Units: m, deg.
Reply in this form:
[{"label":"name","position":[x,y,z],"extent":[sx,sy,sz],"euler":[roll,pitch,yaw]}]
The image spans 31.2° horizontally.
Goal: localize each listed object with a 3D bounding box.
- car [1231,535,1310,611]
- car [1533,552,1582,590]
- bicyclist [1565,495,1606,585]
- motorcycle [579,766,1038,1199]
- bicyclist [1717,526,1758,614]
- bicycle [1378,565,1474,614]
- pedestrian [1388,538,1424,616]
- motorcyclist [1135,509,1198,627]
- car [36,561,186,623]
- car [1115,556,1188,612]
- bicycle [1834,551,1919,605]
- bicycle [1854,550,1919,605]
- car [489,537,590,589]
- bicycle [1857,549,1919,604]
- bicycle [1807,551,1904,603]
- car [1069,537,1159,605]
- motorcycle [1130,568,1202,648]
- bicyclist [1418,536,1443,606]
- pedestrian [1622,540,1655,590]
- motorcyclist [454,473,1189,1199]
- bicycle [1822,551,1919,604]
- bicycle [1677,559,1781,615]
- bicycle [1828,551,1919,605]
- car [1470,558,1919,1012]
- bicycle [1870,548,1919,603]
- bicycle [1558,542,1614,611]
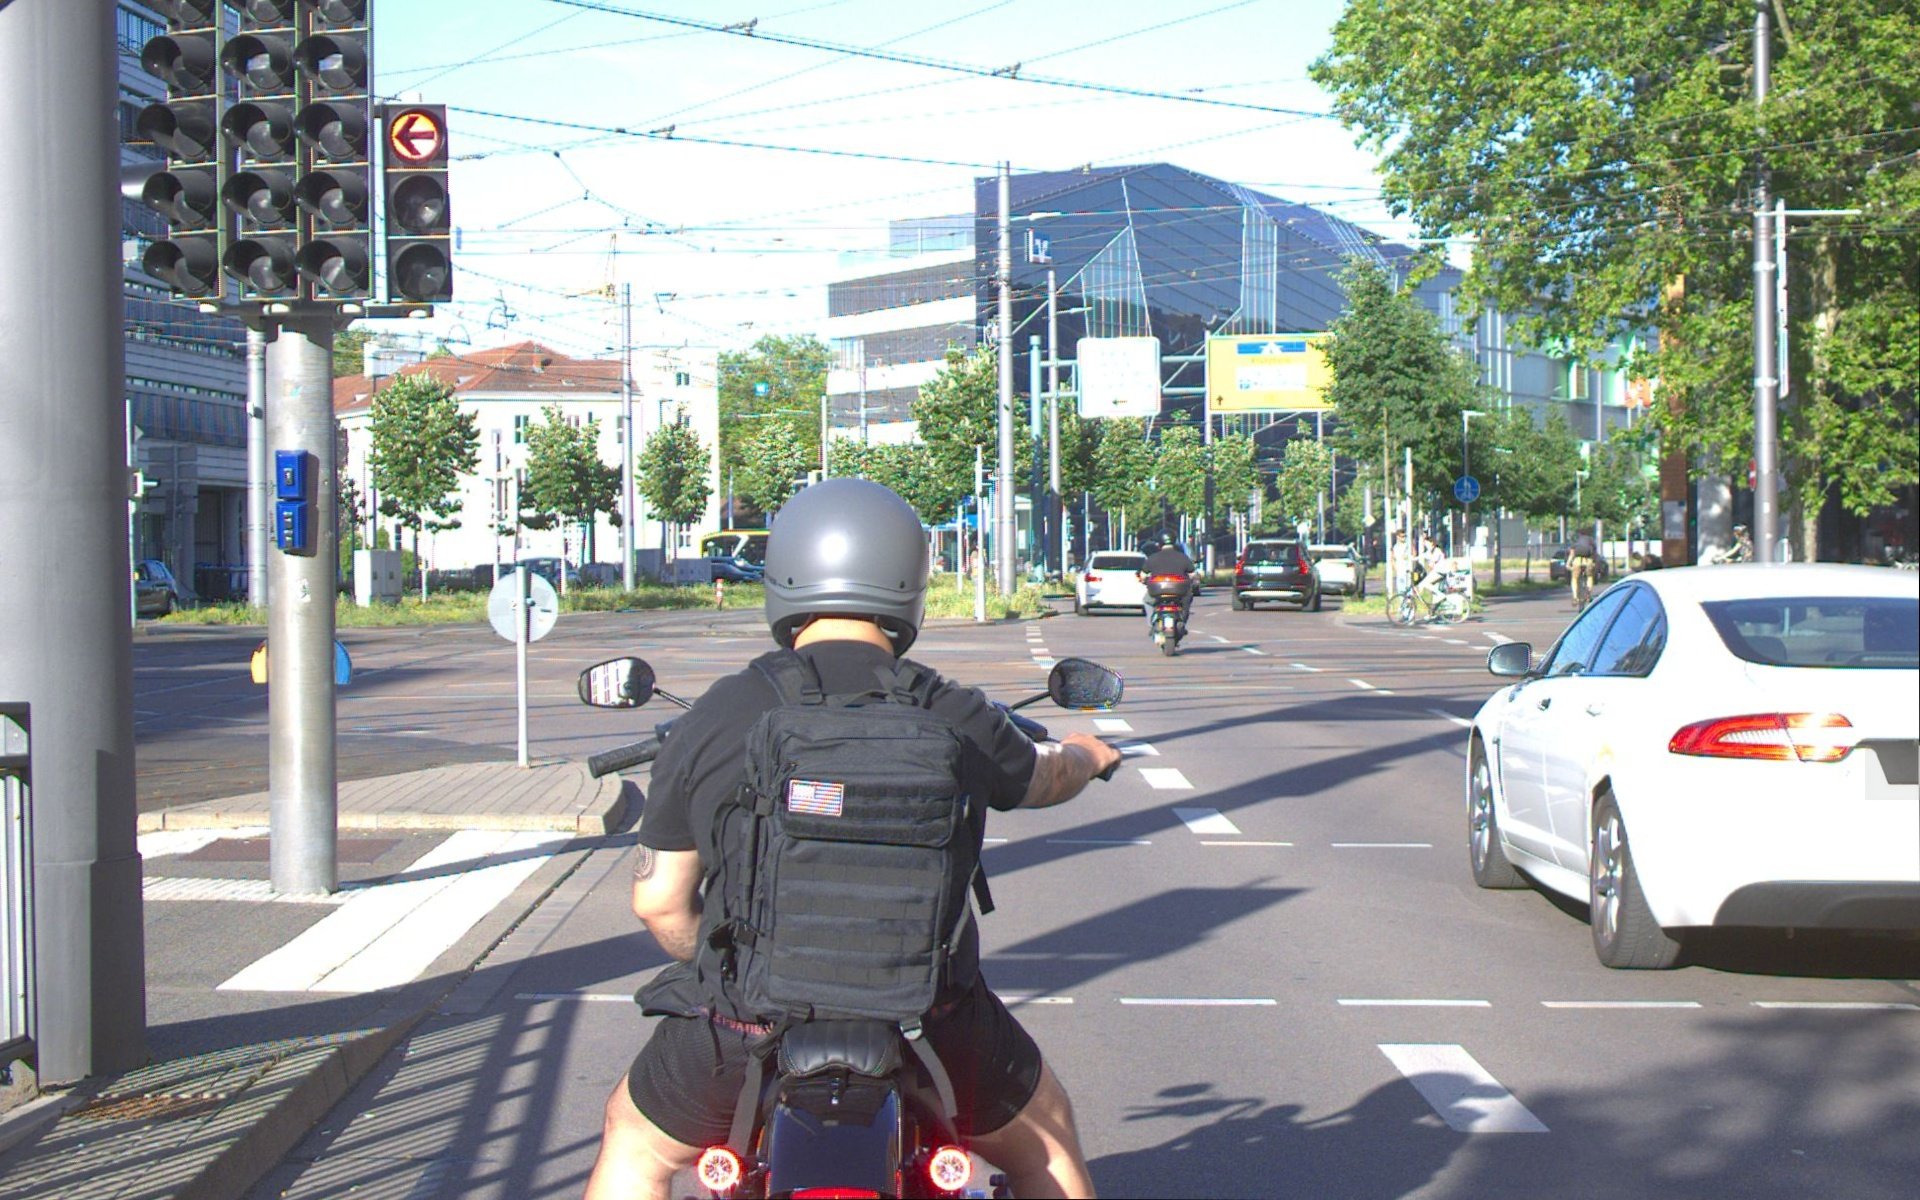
[{"label":"car","position":[7.516,-0.673,83.496],"extent":[1.732,1.726,4.611],"euler":[1,2,4]},{"label":"car","position":[27.474,-1.328,158.023],"extent":[1.805,1.672,4.038],"euler":[1,0,16]},{"label":"bicyclist","position":[12.580,-1.205,69.140],"extent":[0.697,1.802,0.728],"euler":[1,0,4]},{"label":"motorcycle","position":[-0.218,0.870,5.660],"extent":[0.600,1.032,2.234],"euler":[1,1,-1]},{"label":"bicyclist","position":[14.740,-0.565,65.172],"extent":[0.688,1.667,0.540],"euler":[0,0,19]},{"label":"bicycle","position":[9.094,-0.211,67.066],"extent":[1.825,0.922,0.358],"euler":[1,0,-8]},{"label":"pedestrian","position":[8.897,-0.459,68.618],"extent":[0.587,1.551,0.489],"euler":[1,0,-8]},{"label":"motorcyclist","position":[2.789,-0.435,46.448],"extent":[0.796,1.574,0.529],"euler":[1,0,-1]},{"label":"car","position":[-20.101,-0.189,81.597],"extent":[1.826,1.426,4.239],"euler":[1,0,11]},{"label":"car","position":[5.985,-0.485,107.133],"extent":[1.804,1.672,4.039],"euler":[1,0,9]},{"label":"bicycle","position":[18.404,-0.433,68.506],"extent":[1.880,1.043,0.360],"euler":[1,0,-1]},{"label":"bicycle","position":[18.504,-0.437,67.318],"extent":[1.880,1.043,0.360],"euler":[1,0,-1]},{"label":"car","position":[-12.806,-1.114,104.927],"extent":[1.750,1.519,3.997],"euler":[1,0,13]},{"label":"bicycle","position":[18.337,-0.448,66.501],"extent":[1.880,1.043,0.360],"euler":[1,0,-1]},{"label":"bicycle","position":[18.396,-0.472,70.643],"extent":[1.880,1.043,0.360],"euler":[1,1,-1]},{"label":"car","position":[3.398,-0.633,76.558],"extent":[1.731,1.452,4.418],"euler":[1,0,-1]},{"label":"motorcycle","position":[2.780,0.099,46.626],"extent":[0.804,1.047,2.376],"euler":[1,0,0]},{"label":"bicyclist","position":[9.185,-0.568,67.080],"extent":[0.380,1.368,0.345],"euler":[1,0,-9]},{"label":"pedestrian","position":[17.906,-0.912,90.708],"extent":[0.819,1.309,0.637],"euler":[1,0,9]},{"label":"motorcyclist","position":[-0.198,0.610,5.293],"extent":[1.030,1.588,0.873],"euler":[0,1,-1]},{"label":"bicycle","position":[18.418,-0.456,69.492],"extent":[1.880,1.043,0.360],"euler":[1,1,-1]},{"label":"bicycle","position":[14.594,-0.249,65.226],"extent":[1.872,1.040,0.536],"euler":[0,0,19]},{"label":"bicycle","position":[18.425,-0.447,68.992],"extent":[1.880,1.043,0.360],"euler":[1,1,-1]},{"label":"car","position":[3.141,0.567,13.234],"extent":[1.803,1.425,4.453],"euler":[0,1,2]},{"label":"bicycle","position":[18.385,-0.456,65.719],"extent":[1.880,1.043,0.360],"euler":[1,0,-1]},{"label":"bicycle","position":[12.560,-0.467,69.053],"extent":[0.726,1.362,2.917],"euler":[1,0,3]}]
